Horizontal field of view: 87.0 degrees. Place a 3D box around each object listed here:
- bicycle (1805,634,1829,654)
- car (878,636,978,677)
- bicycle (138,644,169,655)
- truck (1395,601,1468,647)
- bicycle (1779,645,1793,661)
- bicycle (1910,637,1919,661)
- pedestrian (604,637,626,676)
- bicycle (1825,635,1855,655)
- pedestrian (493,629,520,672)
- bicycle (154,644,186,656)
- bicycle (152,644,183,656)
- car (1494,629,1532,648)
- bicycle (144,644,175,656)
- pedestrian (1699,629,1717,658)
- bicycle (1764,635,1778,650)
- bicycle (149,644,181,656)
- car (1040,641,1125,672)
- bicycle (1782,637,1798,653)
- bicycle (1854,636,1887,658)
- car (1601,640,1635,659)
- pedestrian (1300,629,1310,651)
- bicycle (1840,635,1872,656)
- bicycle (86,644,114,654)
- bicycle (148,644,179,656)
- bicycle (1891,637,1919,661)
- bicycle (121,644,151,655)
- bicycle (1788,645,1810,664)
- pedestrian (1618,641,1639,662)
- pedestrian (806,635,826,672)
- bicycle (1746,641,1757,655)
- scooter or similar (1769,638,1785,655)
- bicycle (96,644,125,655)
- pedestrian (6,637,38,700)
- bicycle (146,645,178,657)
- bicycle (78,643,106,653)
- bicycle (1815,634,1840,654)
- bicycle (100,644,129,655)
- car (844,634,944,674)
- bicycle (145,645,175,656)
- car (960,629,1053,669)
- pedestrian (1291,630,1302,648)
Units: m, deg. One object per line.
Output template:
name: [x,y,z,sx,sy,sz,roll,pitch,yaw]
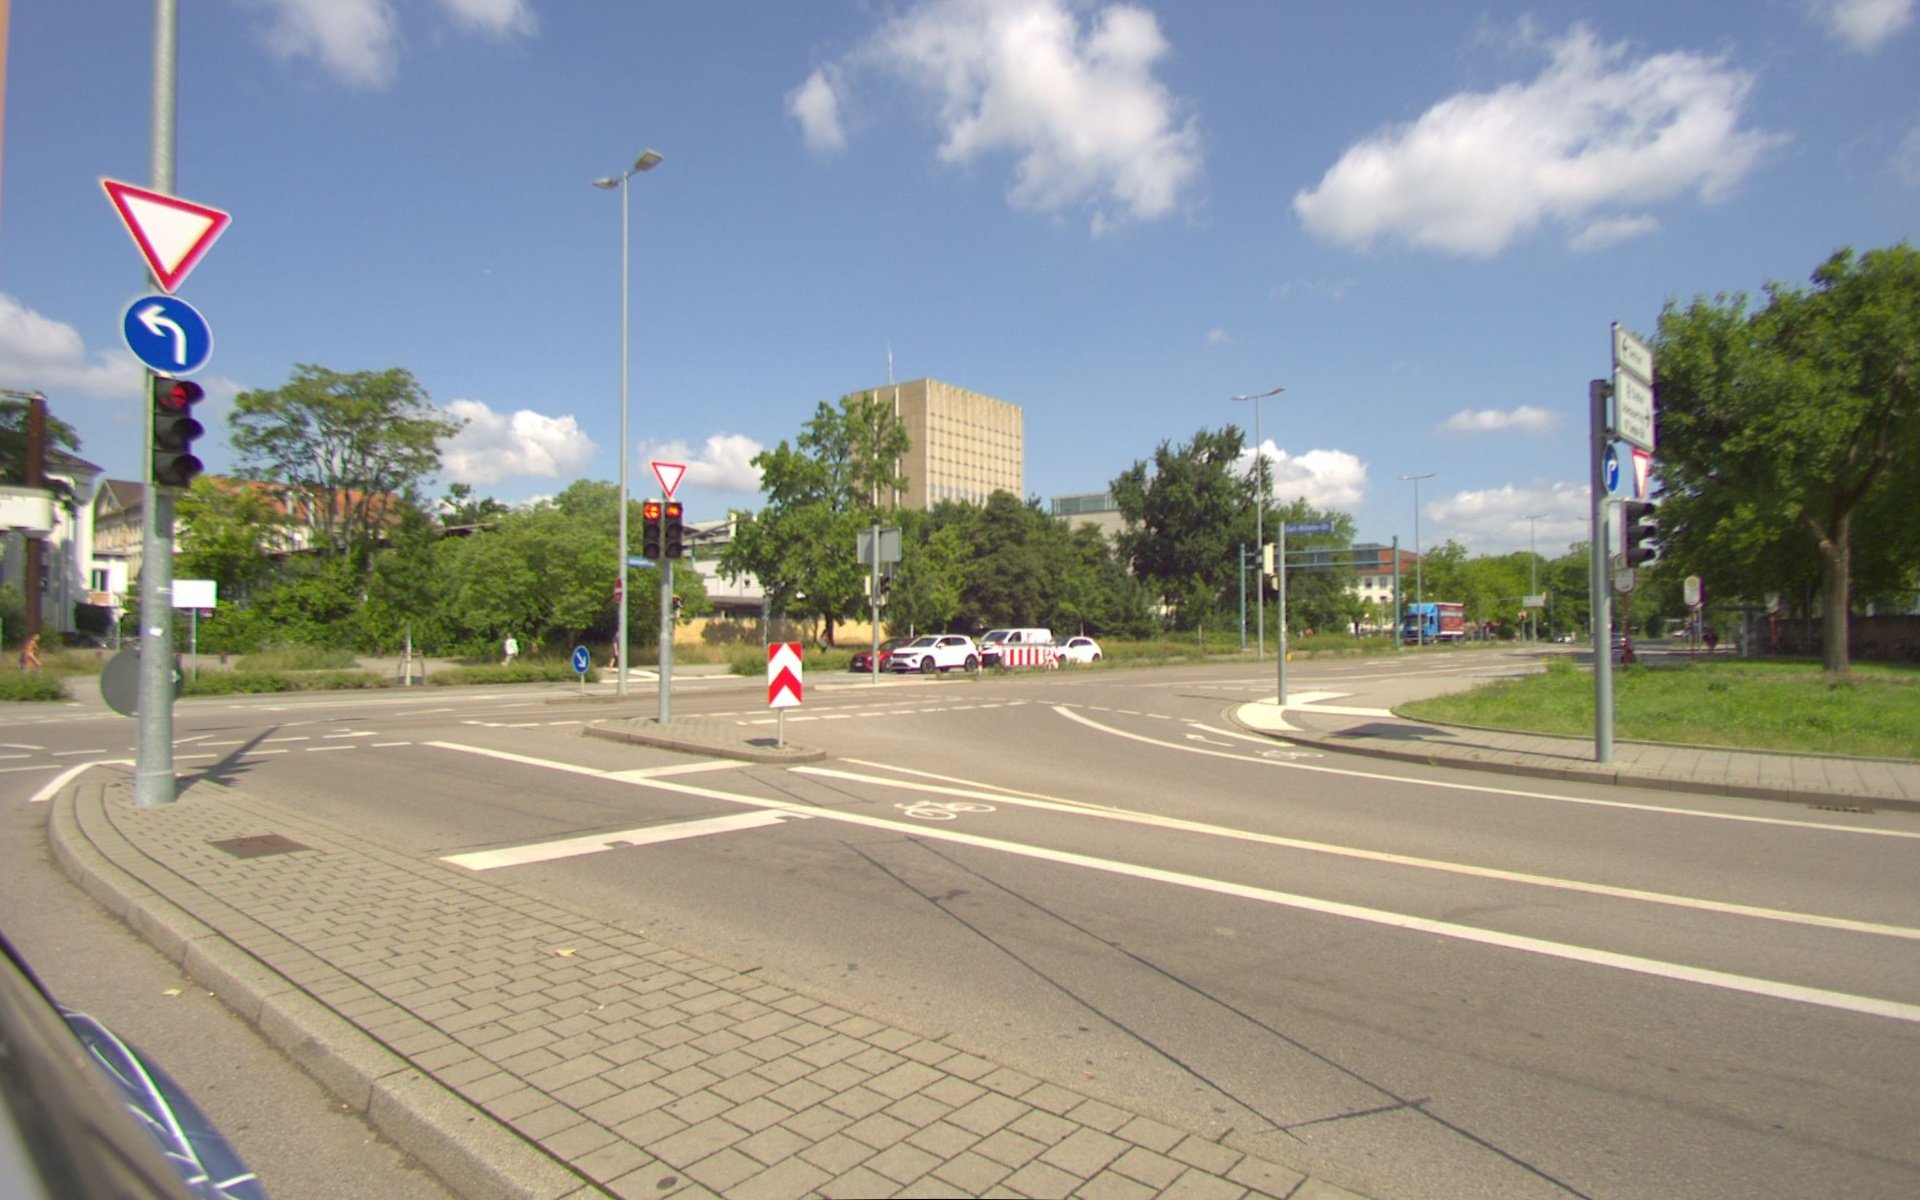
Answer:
bicycle: [48.771,2.501,57.610,0.581,1.081,1.740,-1,-3,26]
car: [-1.259,2.294,41.390,1.797,1.551,3.954,-5,-4,43]
bicycle: [-53.433,3.280,67.030,0.509,0.725,1.536,-2,-3,45]
truck: [40.853,2.105,87.491,2.667,3.828,9.055,-3,-3,45]
bicycle: [52.114,3.327,63.857,0.365,0.962,1.389,-1,-3,26]
bicycle: [43.846,2.222,45.810,0.580,1.081,1.620,-1,-2,20]
pedestrian: [-13.712,2.239,40.233,0.543,1.519,0.773,2,-3,-42]
bicycle: [47.129,2.412,54.232,0.580,1.081,1.744,-1,-2,20]
pedestrian: [-17.738,1.982,39.577,0.871,1.651,0.710,-2,-3,44]
bicycle: [-50.106,3.159,64.210,0.509,0.725,1.536,-2,-3,45]
bicycle: [-50.720,3.208,64.761,0.509,0.725,1.536,-2,-3,45]
car: [60.146,4.189,110.210,1.973,2.029,3.998,0,-2,1]
bicycle: [-52.168,3.261,65.987,0.509,0.725,1.536,-2,-3,45]
pedestrian: [41.388,2.406,56.010,0.658,1.622,0.734,-4,-4,43]
bicycle: [50.769,2.669,63.356,1.599,0.962,0.368,2,-3,-39]
bicycle: [-49.929,3.156,63.571,0.509,0.725,1.536,-2,-3,45]
car: [5.942,2.684,48.724,1.910,1.435,4.322,-2,-3,43]
bicycle: [51.249,2.797,62.491,0.369,0.962,1.612,-1,-3,26]
bicycle: [45.807,2.356,50.912,0.580,1.081,1.744,-1,-2,20]
car: [52.273,3.926,80.340,1.705,1.456,4.088,-1,-2,41]
pedestrian: [29.489,3.422,86.424,0.569,1.815,0.630,-2,-3,42]
bicycle: [46.516,2.361,52.554,0.580,1.081,1.744,-1,-2,20]
bicycle: [-63.547,3.590,74.743,0.509,0.725,1.536,-2,-3,45]
bicycle: [-51.346,3.209,65.241,0.509,0.725,1.536,-2,-3,45]
bicycle: [44.410,2.274,47.376,0.580,1.081,1.620,-1,-2,20]
bicycle: [-56.035,3.342,68.867,0.509,0.725,1.536,-2,-3,45]
bicycle: [50.178,3.267,60.516,0.581,1.081,1.740,-1,-3,26]
pedestrian: [31.733,2.434,48.039,0.696,0.970,0.733,-3,-3,41]
pedestrian: [-6.805,2.514,47.817,0.668,1.749,0.745,2,-3,-44]
bicycle: [58.304,3.539,74.553,0.370,1.056,1.860,-2,-3,32]
scooter or similar: [53.132,3.015,65.817,0.580,1.056,1.860,-2,-3,32]
bicycle: [-60.443,3.510,72.035,0.509,0.725,1.536,-2,-3,45]
pedestrian: [-26.285,1.910,28.370,0.568,1.747,0.663,1,-3,-39]
bicycle: [-49.485,3.170,62.751,0.509,0.725,1.536,-2,-3,45]
bicycle: [-64.361,3.585,75.069,0.509,0.725,1.536,-2,-3,45]
bicycle: [47.908,2.441,55.891,0.581,1.081,1.741,-1,-3,25]
bicycle: [-59.674,3.468,71.466,0.509,0.725,1.536,-2,-3,45]
car: [-2.828,2.327,43.943,1.686,1.654,4.400,-3,-3,42]
bicycle: [-52.592,3.309,66.543,0.509,0.725,1.536,-2,-3,45]
car: [2.323,2.367,49.411,1.949,1.884,4.756,-2,-3,43]
pedestrian: [28.923,3.336,86.890,0.625,1.593,0.698,-2,-3,42]
